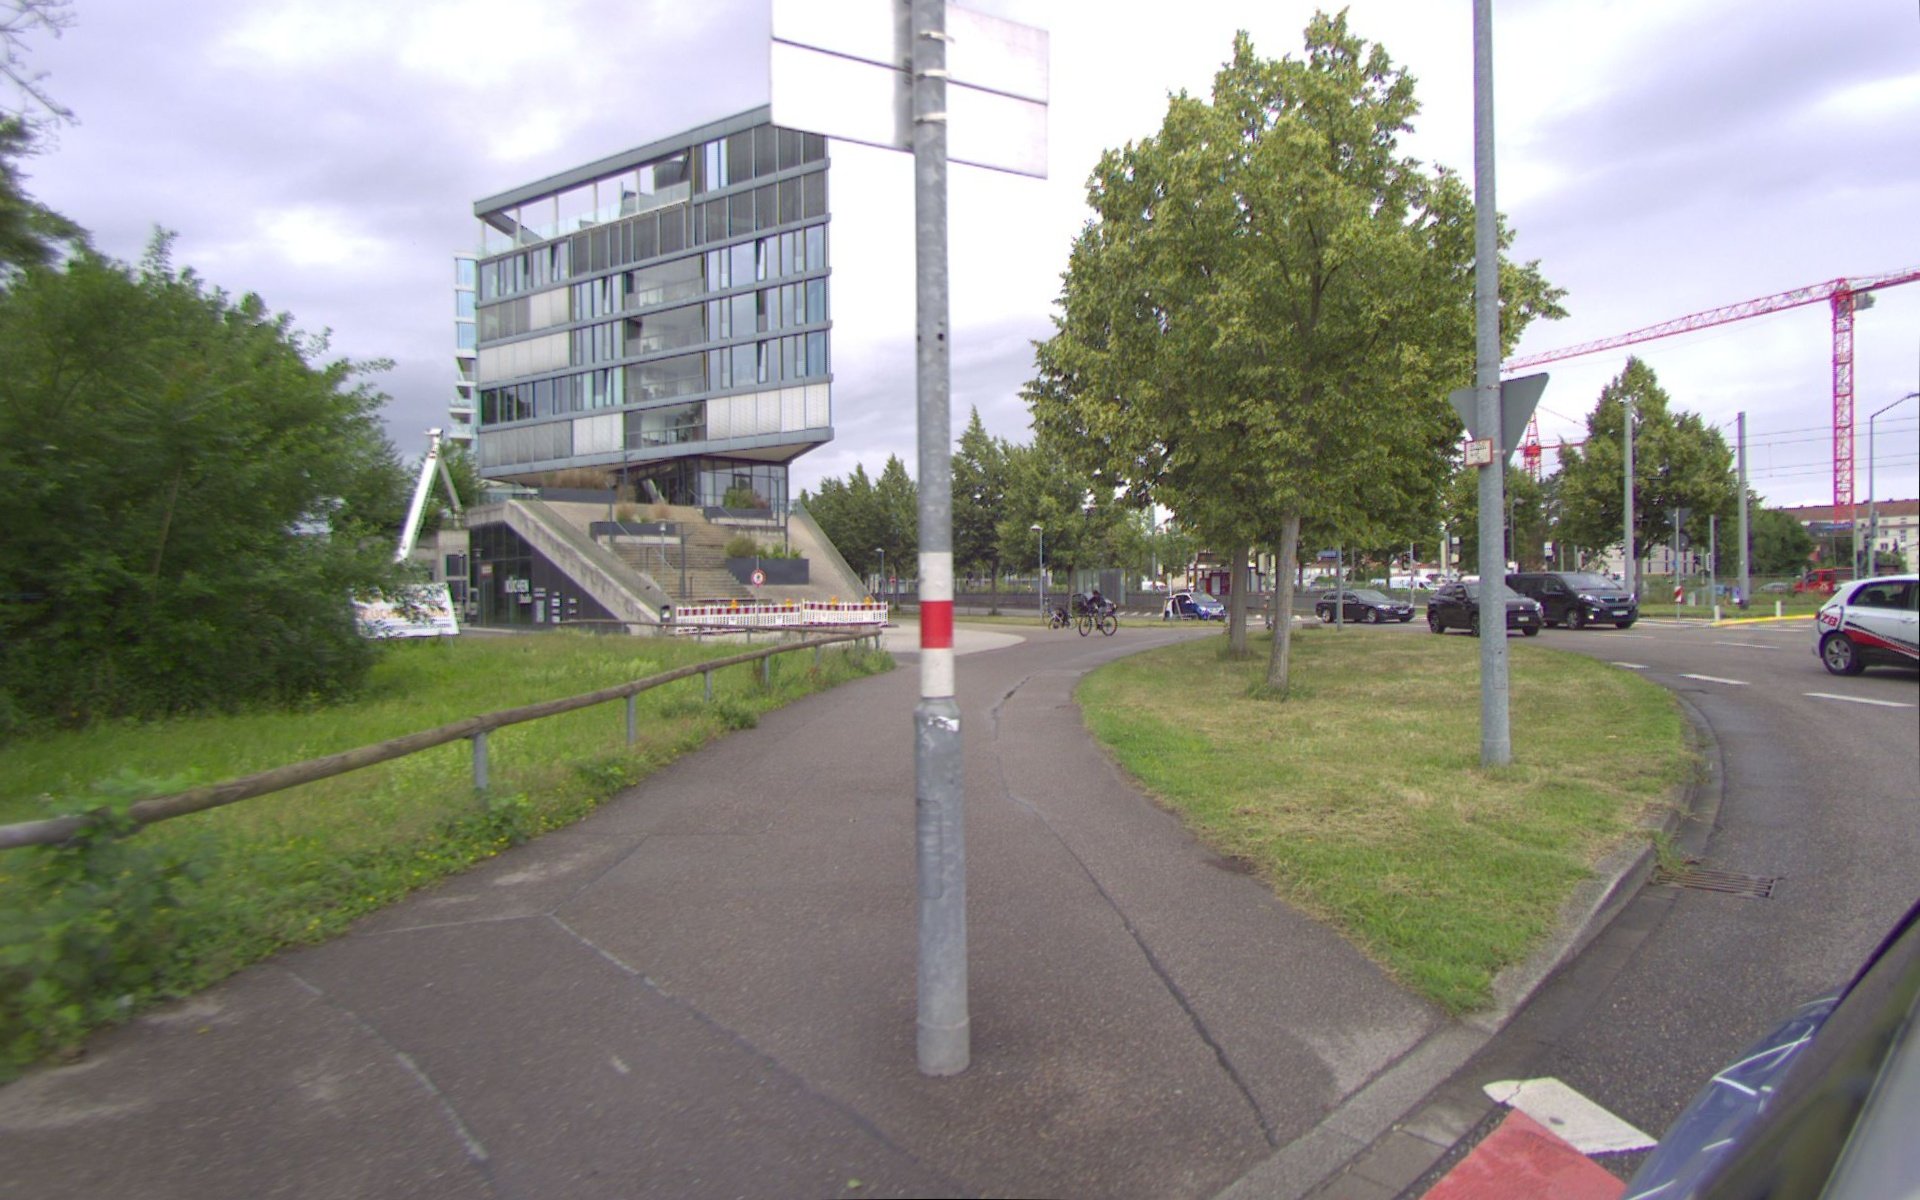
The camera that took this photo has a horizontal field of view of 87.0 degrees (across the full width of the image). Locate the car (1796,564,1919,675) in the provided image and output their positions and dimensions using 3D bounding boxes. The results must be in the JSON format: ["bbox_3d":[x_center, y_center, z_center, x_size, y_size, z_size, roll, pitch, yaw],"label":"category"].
[{"bbox_3d":[13.679,0.242,13.309,1.799,1.475,4.429,-1,0,3],"label":"car"}]

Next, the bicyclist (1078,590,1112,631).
[{"bbox_3d":[4.571,0.348,34.207,1.034,1.353,0.618,0,0,-41],"label":"bicyclist"}]

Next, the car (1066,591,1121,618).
[{"bbox_3d":[8.722,0.263,66.286,1.822,1.749,4.008,0,0,-22],"label":"car"}]

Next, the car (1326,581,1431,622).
[{"bbox_3d":[17.811,0.050,43.310,1.958,1.638,4.368,0,0,-13],"label":"car"}]

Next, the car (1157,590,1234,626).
[{"bbox_3d":[12.018,0.383,51.860,1.822,1.749,4.008,0,0,-22],"label":"car"}]

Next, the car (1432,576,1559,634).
[{"bbox_3d":[16.239,0.124,30.956,1.889,1.586,4.467,-1,0,7],"label":"car"}]

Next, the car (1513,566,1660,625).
[{"bbox_3d":[20.078,-0.143,32.640,1.891,1.736,4.018,-1,0,-6],"label":"car"}]

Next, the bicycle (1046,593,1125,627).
[{"bbox_3d":[5.062,0.397,40.838,3.006,1.304,1.019,0,0,-21],"label":"bicycle"}]

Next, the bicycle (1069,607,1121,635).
[{"bbox_3d":[4.585,0.704,34.231,1.953,0.886,0.621,-1,1,-41],"label":"bicycle"}]
